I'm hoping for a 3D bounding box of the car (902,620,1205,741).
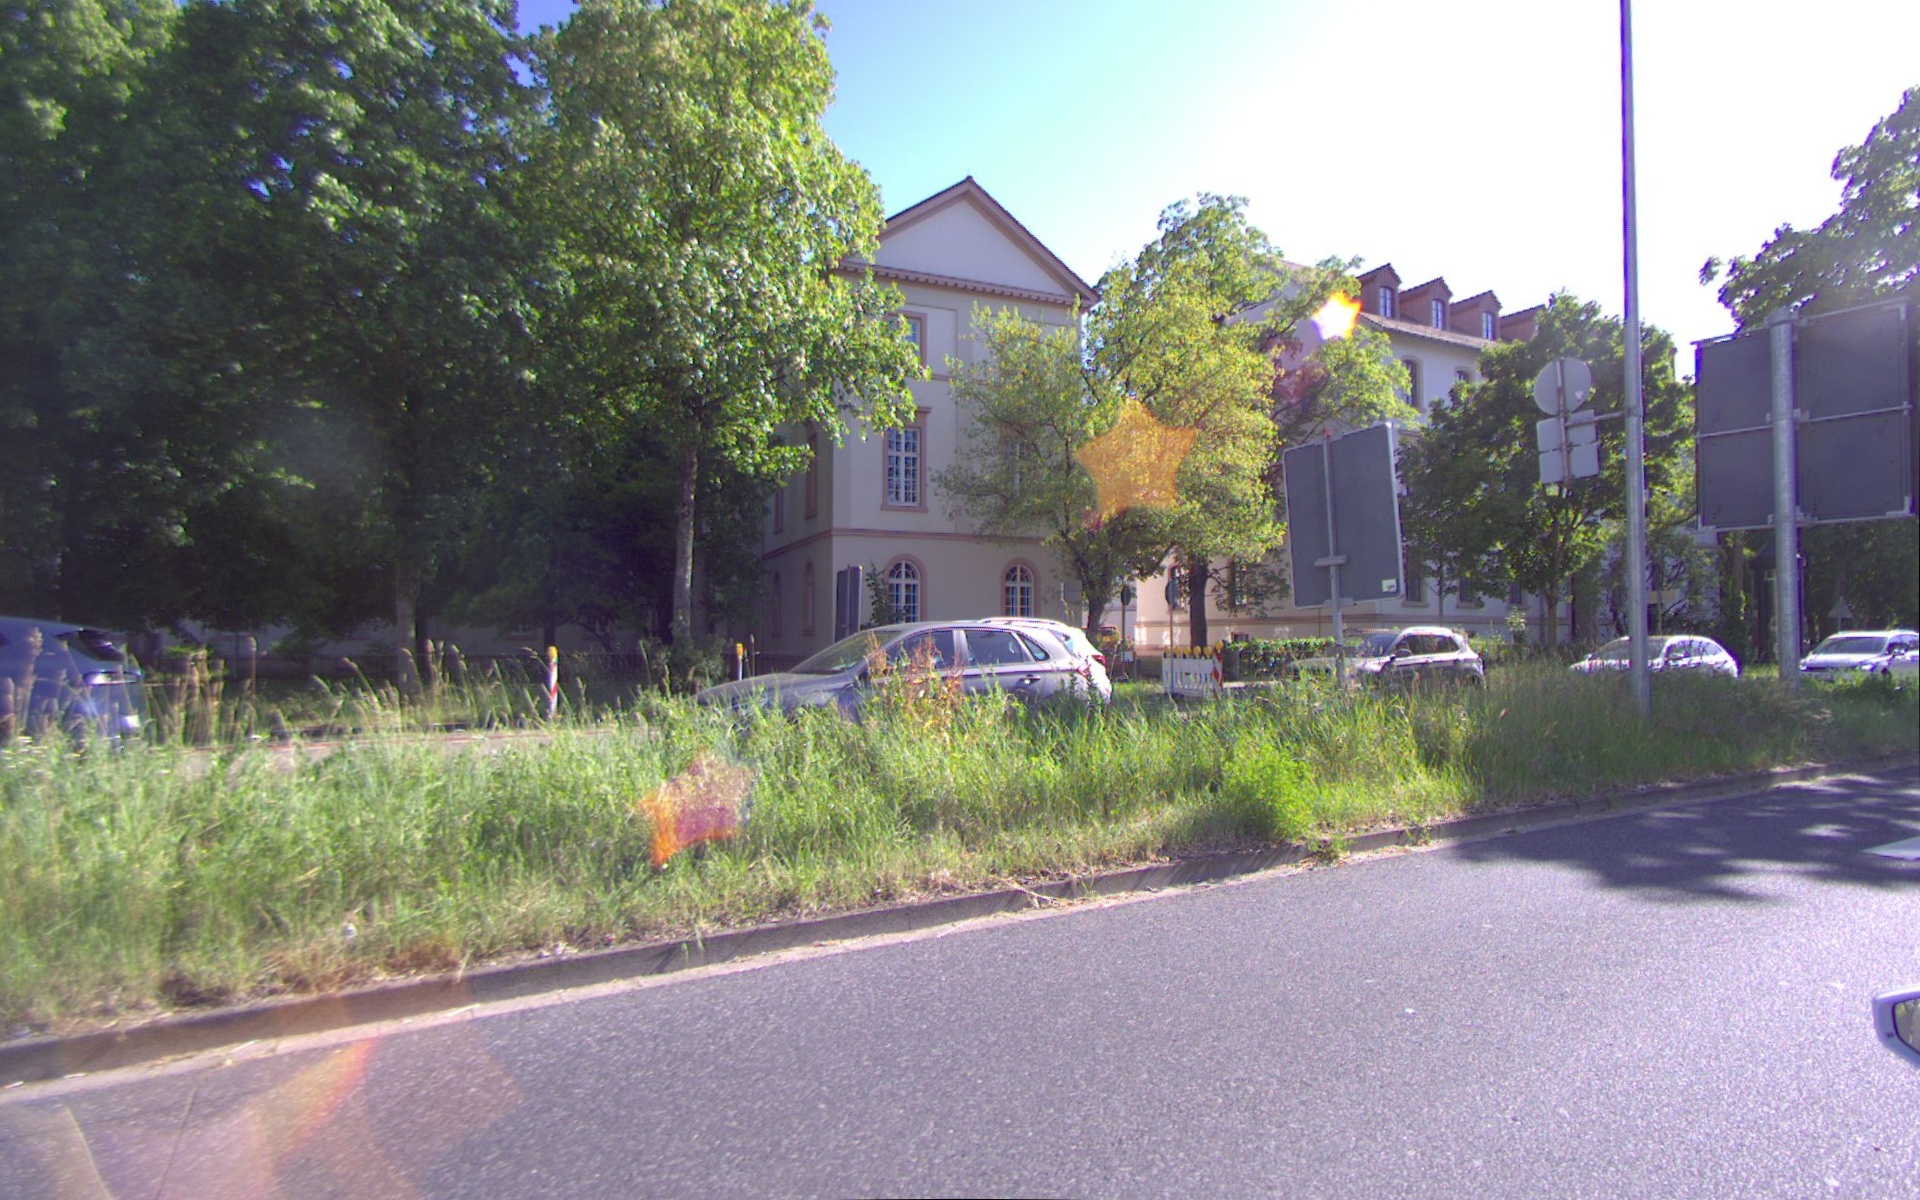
[{"bbox_3d":[1.420,1.092,14.708,4.209,1.539,1.787,1,-2,-31],"label":"car"}]

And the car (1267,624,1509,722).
[{"bbox_3d":[7.646,1.284,17.855,4.208,1.539,1.787,3,-2,-30],"label":"car"}]

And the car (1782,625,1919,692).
[{"bbox_3d":[24.136,1.539,26.889,4.485,1.647,1.892,1,-3,-31],"label":"car"}]

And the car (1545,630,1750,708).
[{"bbox_3d":[15.074,1.438,21.968,4.609,1.539,1.831,1,-2,-29],"label":"car"}]

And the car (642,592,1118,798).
[{"bbox_3d":[-0.702,0.916,9.859,4.273,1.639,1.745,5,-3,-30],"label":"car"}]

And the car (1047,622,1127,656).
[{"bbox_3d":[8.192,2.508,64.890,4.726,1.982,1.988,-1,-2,-25],"label":"car"}]

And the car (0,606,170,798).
[{"bbox_3d":[-9.334,0.808,8.109,4.394,1.539,1.787,2,-2,-31],"label":"car"}]

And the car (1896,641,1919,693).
[{"bbox_3d":[30.387,2.051,30.513,4.040,1.538,1.787,2,-4,-31],"label":"car"}]

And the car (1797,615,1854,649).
[{"bbox_3d":[68.709,2.510,79.713,4.926,2.354,1.838,5,-3,-29],"label":"car"}]
